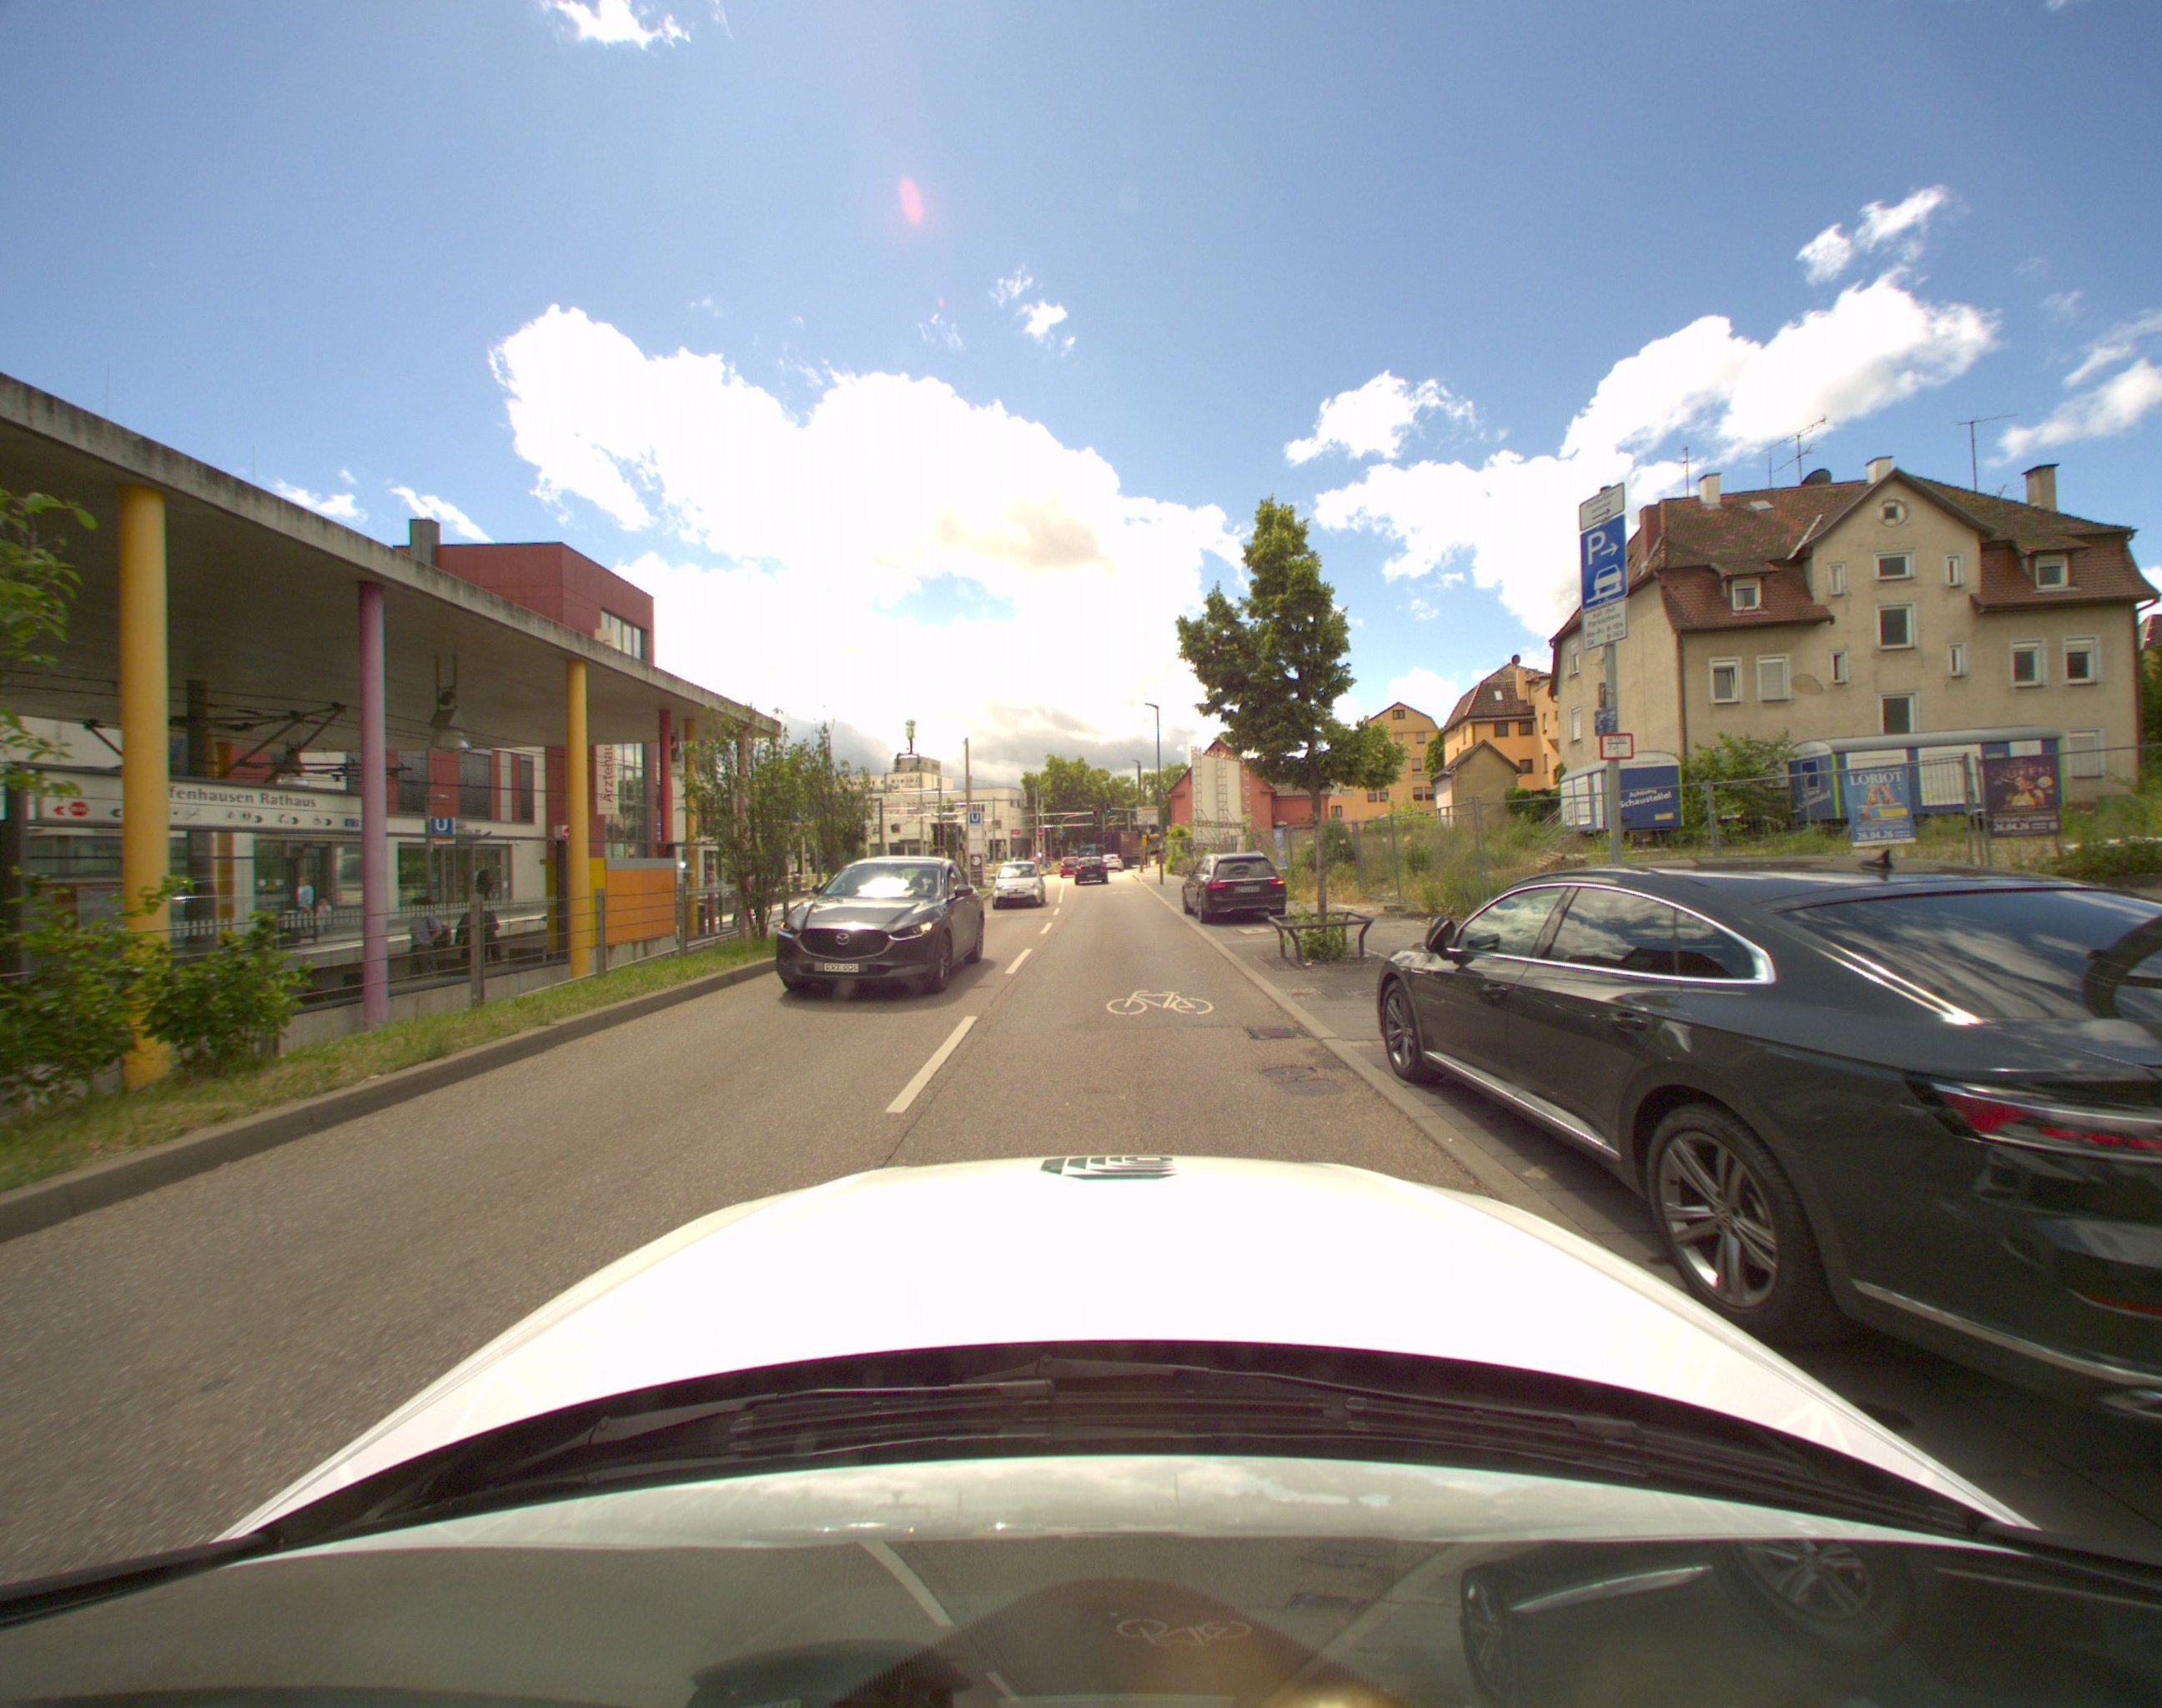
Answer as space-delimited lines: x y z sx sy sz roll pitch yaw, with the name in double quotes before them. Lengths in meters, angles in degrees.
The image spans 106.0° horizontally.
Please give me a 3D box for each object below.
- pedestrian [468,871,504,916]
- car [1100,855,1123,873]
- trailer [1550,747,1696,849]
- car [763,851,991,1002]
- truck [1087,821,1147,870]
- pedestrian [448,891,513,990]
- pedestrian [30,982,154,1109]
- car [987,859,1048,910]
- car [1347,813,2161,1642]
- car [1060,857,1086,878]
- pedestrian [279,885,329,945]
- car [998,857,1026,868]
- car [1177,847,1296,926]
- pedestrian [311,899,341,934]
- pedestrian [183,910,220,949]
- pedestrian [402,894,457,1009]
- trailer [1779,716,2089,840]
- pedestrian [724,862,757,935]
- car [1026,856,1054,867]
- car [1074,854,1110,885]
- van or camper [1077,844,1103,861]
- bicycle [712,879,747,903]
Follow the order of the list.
"pedestrian" -22.185 1.456 30.362 0.654 1.650 0.843 0 -2 2
"car" 2.596 0.890 70.237 1.881 1.465 4.070 -2 -1 2
"trailer" 19.013 -1.794 29.010 2.386 3.122 6.186 -3 0 15
"car" -2.314 0.757 10.429 1.718 1.521 4.256 1 0 2
"truck" 3.703 -0.671 81.010 3.176 4.536 9.074 -1 -2 21
"pedestrian" -10.089 1.425 13.678 0.760 1.527 0.678 -4 3 -40
"pedestrian" -9.381 1.802 7.739 0.563 1.083 0.484 0 1 1
"car" -2.070 0.957 27.514 1.766 1.508 3.997 -2 0 -2
"car" 2.863 0.639 3.757 1.857 1.451 4.646 -3 0 2
"car" -0.626 0.930 59.077 1.708 1.393 3.805 -2 0 -2
"pedestrian" -22.436 1.746 23.537 0.681 1.685 0.724 0 -2 4
"car" -10.497 1.277 124.461 1.974 1.464 4.025 -2 -1 41
"car" 3.331 0.643 18.310 1.776 1.451 4.476 -3 0 0
"pedestrian" -21.884 1.794 23.605 0.362 0.990 0.492 0 -2 4
"pedestrian" -24.069 2.061 22.293 0.362 1.023 0.562 0 -2 4
"pedestrian" -9.770 1.438 12.206 0.541 1.633 0.536 0 1 40
"trailer" 25.470 -2.155 24.639 6.099 3.122 2.420 -3 -1 11
"pedestrian" -8.979 1.154 21.516 0.736 1.845 0.779 -1 1 -20
"car" -6.495 1.156 129.531 1.974 1.600 4.226 -2 0 41
"car" 0.551 0.775 42.873 1.721 1.456 3.807 -2 0 -1
"van or camper" 1.583 -0.190 143.162 2.155 2.806 6.103 -1 -2 25
"bicycle" -18.208 1.914 42.196 1.561 1.100 0.408 -4 -2 -1
